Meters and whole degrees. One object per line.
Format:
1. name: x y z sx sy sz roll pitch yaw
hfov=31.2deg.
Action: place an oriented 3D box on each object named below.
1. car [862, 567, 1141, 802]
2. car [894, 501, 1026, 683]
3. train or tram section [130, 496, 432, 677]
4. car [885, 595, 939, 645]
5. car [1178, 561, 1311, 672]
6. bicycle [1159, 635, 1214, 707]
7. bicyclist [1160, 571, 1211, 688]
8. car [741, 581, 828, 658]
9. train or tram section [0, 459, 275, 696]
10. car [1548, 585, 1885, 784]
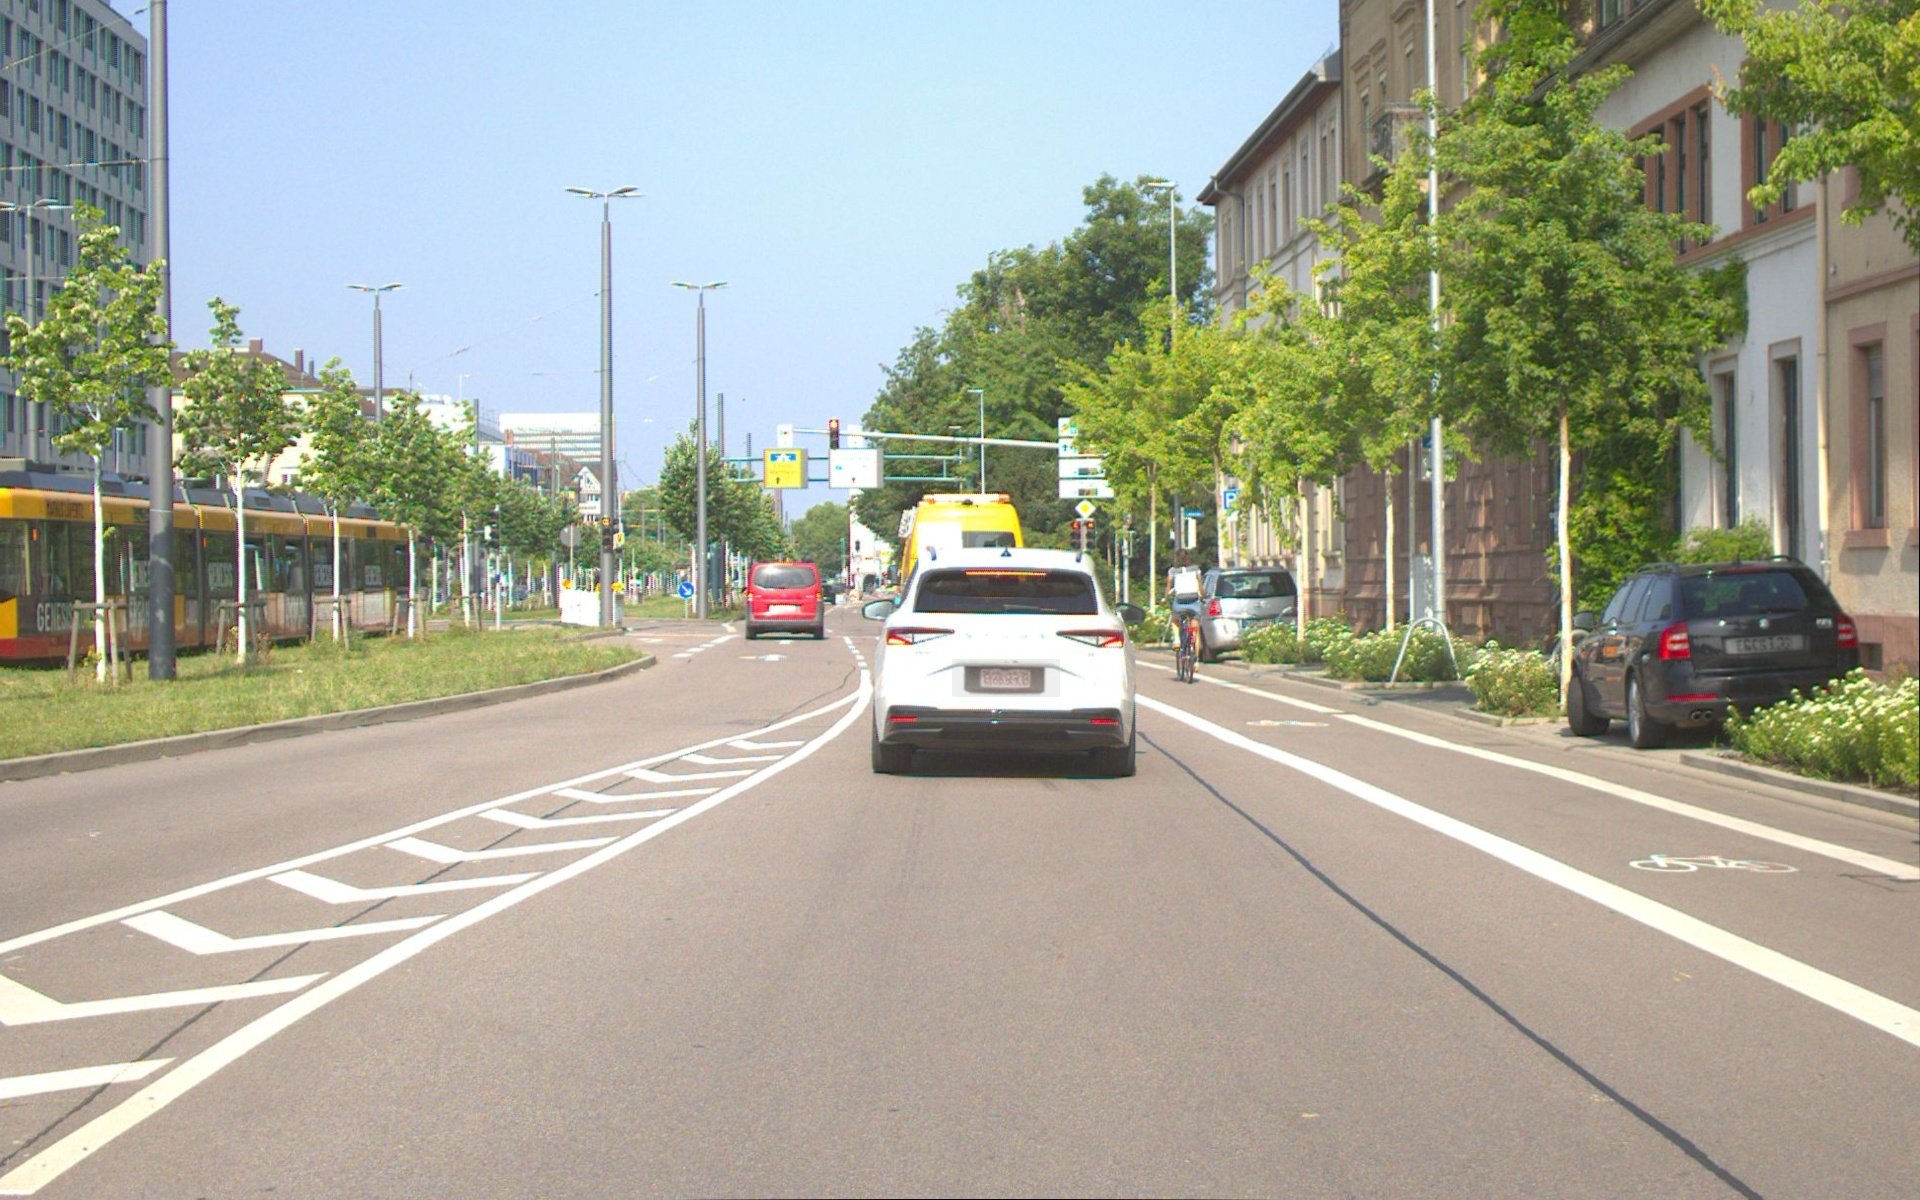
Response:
1. car: 0.233 0.558 24.962 1.870 1.569 4.000 0 0 -1
2. car: -0.051 -0.205 55.932 2.020 2.786 5.401 0 2 -1
3. train or tram section: -15.529 -0.218 80.691 2.906 3.694 18.288 2 0 2
4. car: -1.768 0.711 127.071 1.930 1.815 4.000 0 0 -1
5. car: 4.813 0.264 58.547 1.812 1.806 3.836 0 0 -2
6. bicycle: 3.057 0.955 46.524 0.655 0.935 1.517 0 0 1
7. bicyclist: 3.052 0.396 46.597 0.639 1.572 0.771 0 0 1
8. car: -4.252 0.450 83.658 1.930 1.815 4.000 0 0 -1
9. train or tram section: -16.002 -0.328 62.487 2.906 3.664 18.135 2 0 2
10. car: 6.147 0.656 28.413 1.673 1.478 4.312 -1 0 -2
